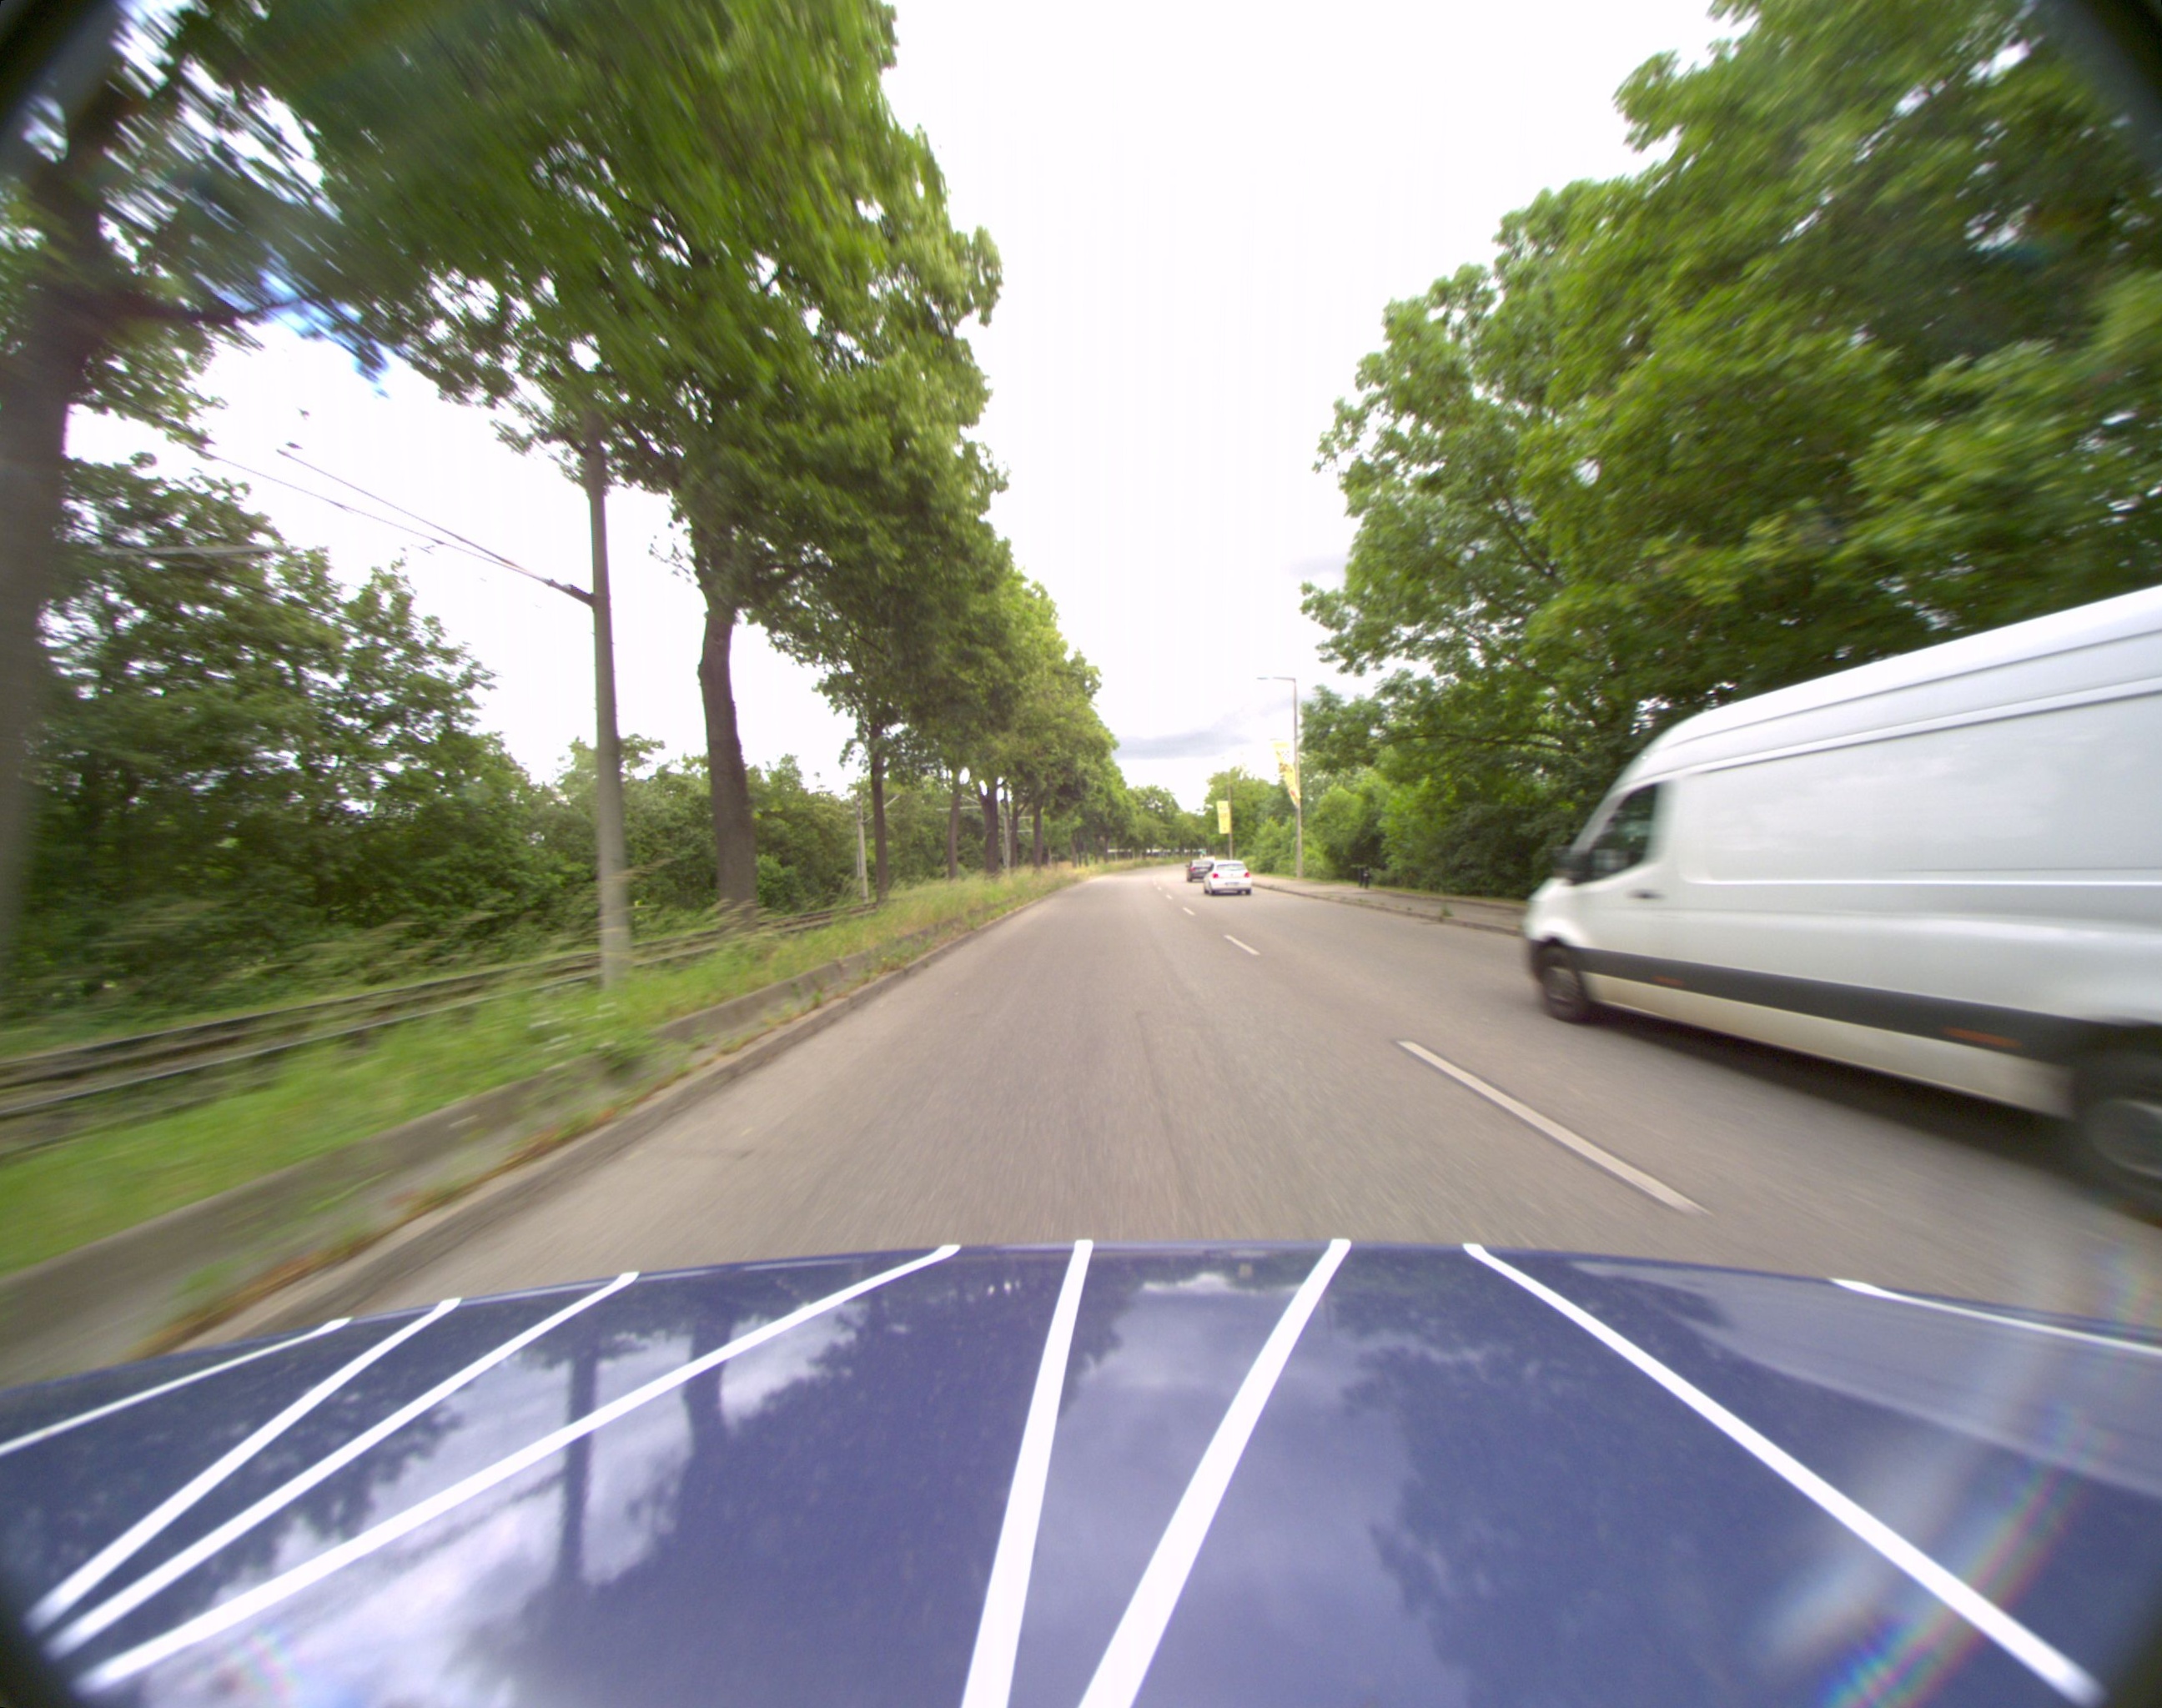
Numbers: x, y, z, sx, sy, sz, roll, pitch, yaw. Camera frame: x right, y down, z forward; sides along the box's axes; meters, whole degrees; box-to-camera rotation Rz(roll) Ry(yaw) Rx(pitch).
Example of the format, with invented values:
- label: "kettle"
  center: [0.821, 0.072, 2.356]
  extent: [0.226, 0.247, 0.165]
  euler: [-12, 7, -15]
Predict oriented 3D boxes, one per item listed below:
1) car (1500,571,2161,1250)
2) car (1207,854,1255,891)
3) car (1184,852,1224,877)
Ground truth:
- label: "car"
  center: [5.186, 0.199, 4.696]
  extent: [1.998, 2.611, 5.895]
  euler: [-2, 0, 1]
- label: "car"
  center: [6.378, 0.750, 32.621]
  extent: [1.727, 1.420, 4.002]
  euler: [-1, 1, 8]
- label: "car"
  center: [8.179, 0.675, 50.809]
  extent: [1.998, 1.496, 4.279]
  euler: [-1, 1, 1]
